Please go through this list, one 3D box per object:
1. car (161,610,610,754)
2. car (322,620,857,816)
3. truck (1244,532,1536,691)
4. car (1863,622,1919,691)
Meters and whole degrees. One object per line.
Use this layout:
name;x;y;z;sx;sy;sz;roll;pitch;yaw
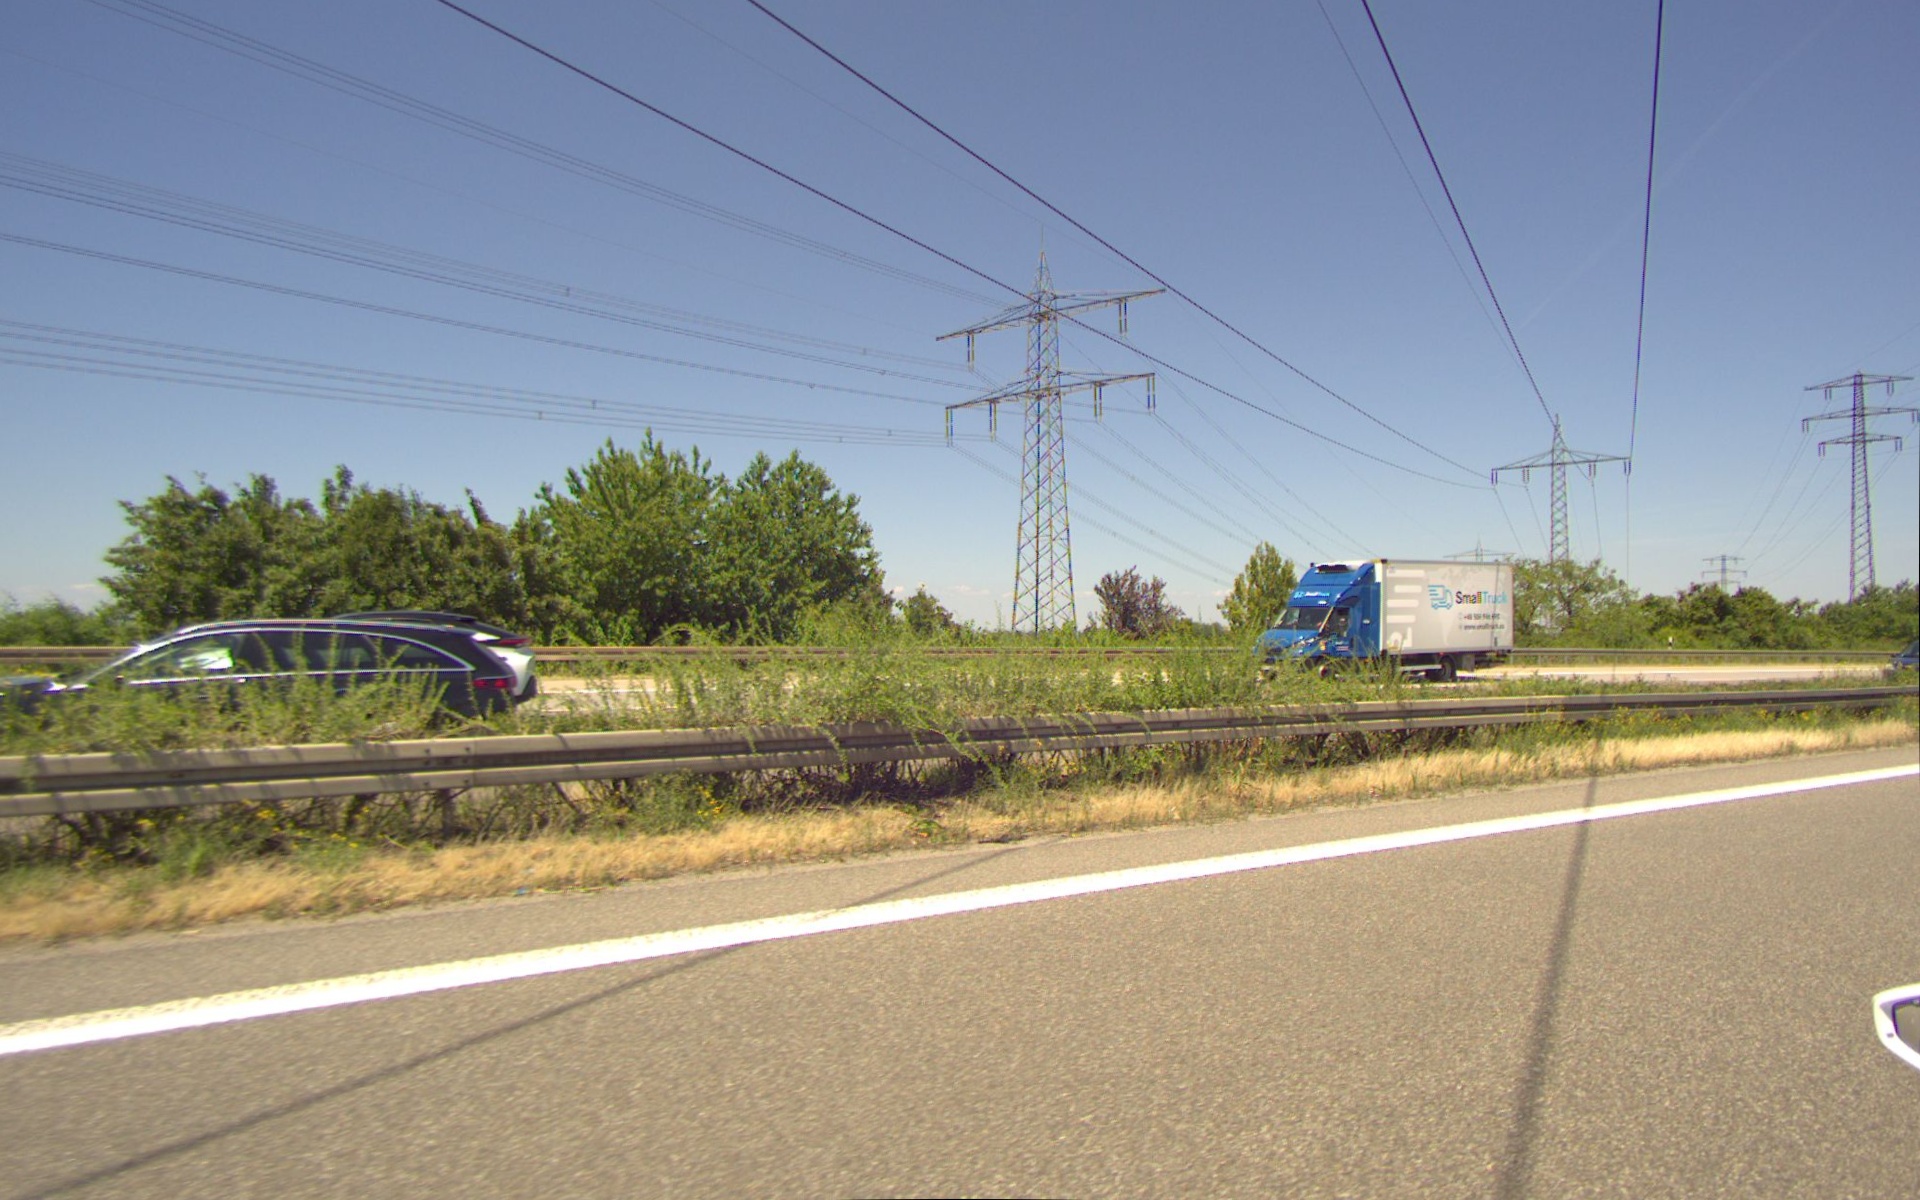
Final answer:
car;-7.532;0.983;13.686;4.956;1.639;1.984;1;0;-30
car;-3.766;1.047;10.680;4.956;1.639;1.984;1;0;-30
truck;12.570;0.382;28.960;9.555;4.028;2.443;1;-3;-30
car;29.937;1.699;30.892;4.234;2.001;1.984;1;0;-30
